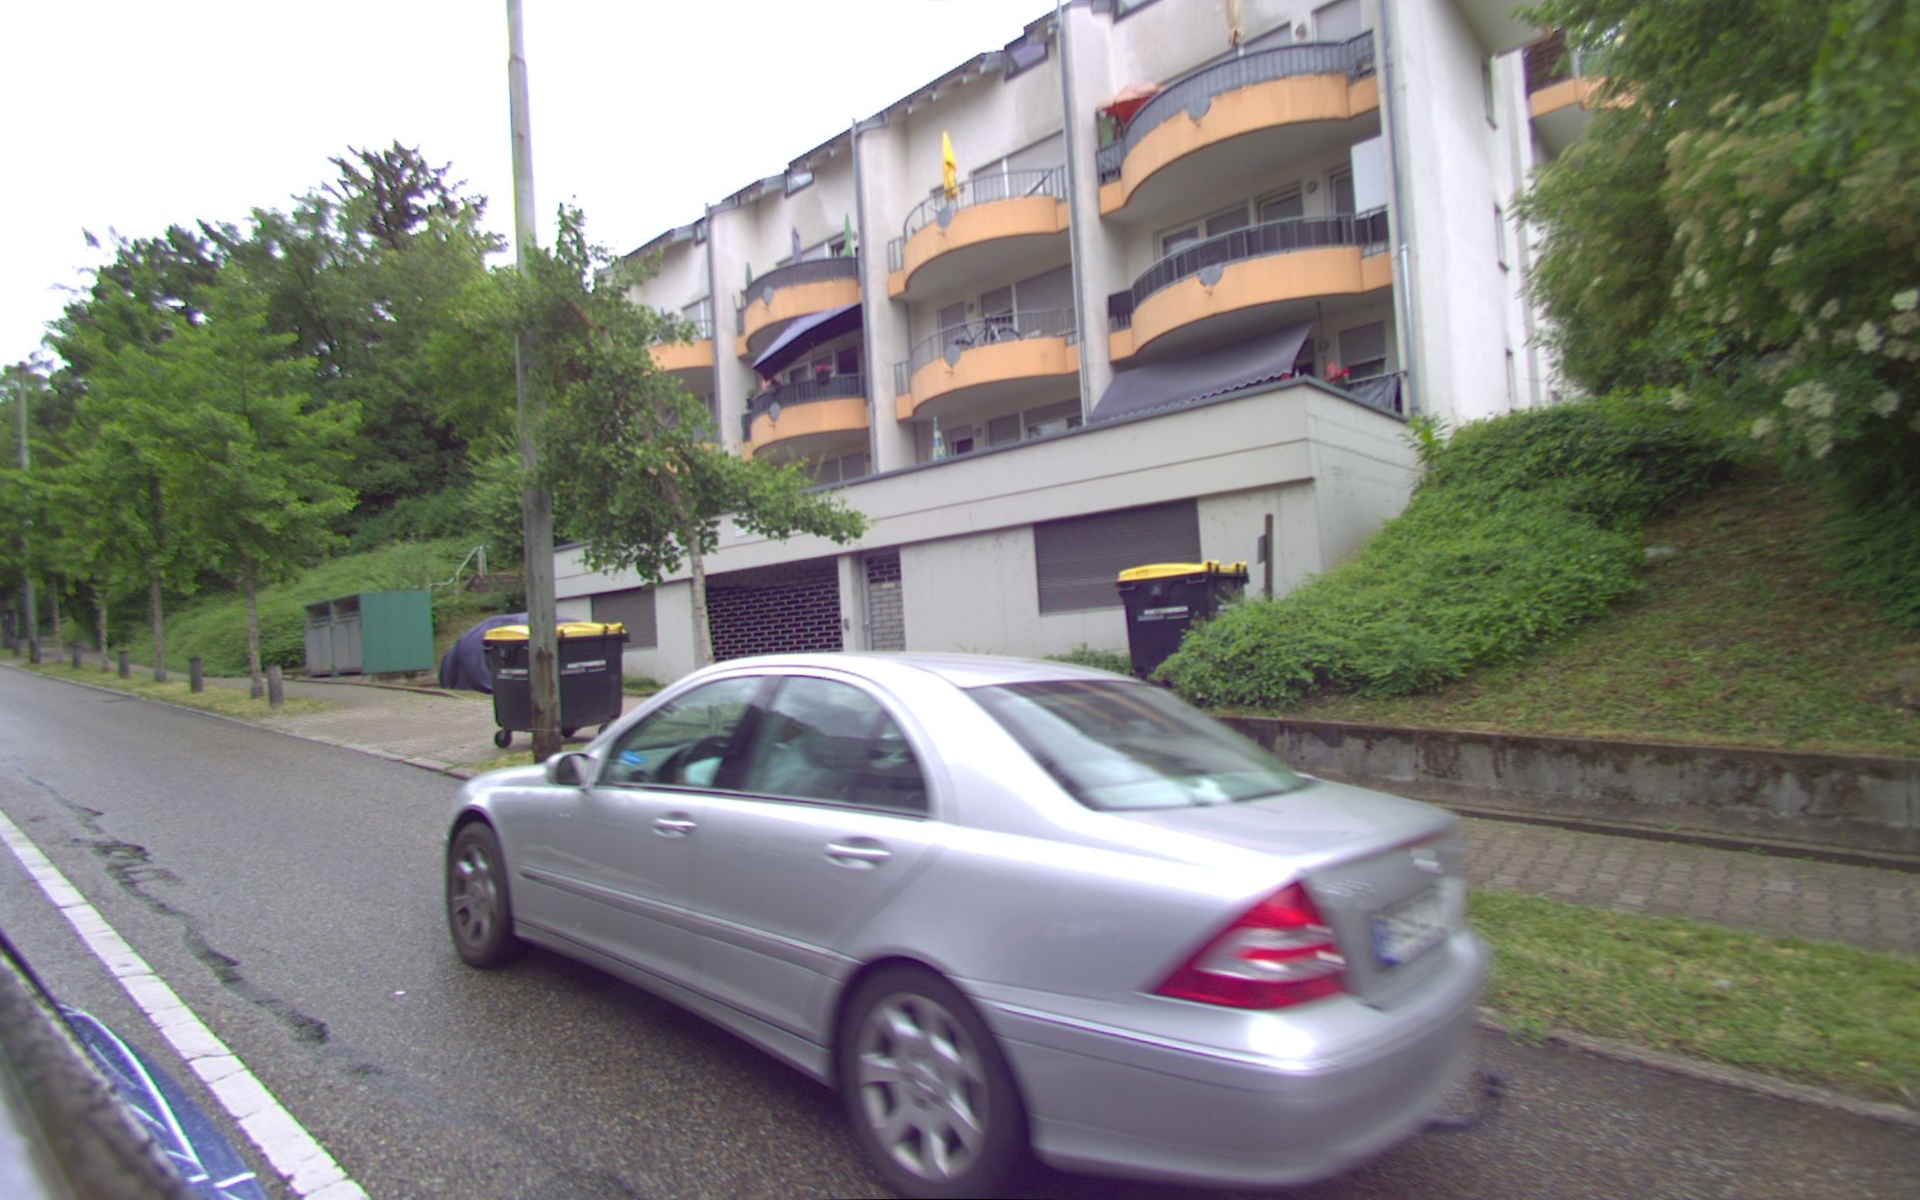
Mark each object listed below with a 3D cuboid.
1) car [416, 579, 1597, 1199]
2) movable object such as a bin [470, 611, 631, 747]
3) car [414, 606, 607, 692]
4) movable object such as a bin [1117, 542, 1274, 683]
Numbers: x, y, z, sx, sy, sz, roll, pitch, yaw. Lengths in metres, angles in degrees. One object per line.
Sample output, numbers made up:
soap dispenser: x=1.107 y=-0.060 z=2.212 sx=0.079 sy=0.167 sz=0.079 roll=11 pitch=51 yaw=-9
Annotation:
car: x=-0.265 y=0.751 z=3.798 sx=4.283 sy=1.395 sz=1.701 roll=-2 pitch=-4 yaw=41
movable object such as a bin: x=-4.504 y=0.828 z=11.175 sx=1.120 sy=1.360 sz=1.213 roll=-1 pitch=0 yaw=33
car: x=-8.719 y=0.941 z=19.547 sx=3.862 sy=1.503 sz=1.832 roll=-1 pitch=-4 yaw=40
movable object such as a bin: x=2.480 y=0.134 z=10.615 sx=1.159 sy=1.325 sz=1.252 roll=-6 pitch=-2 yaw=33
